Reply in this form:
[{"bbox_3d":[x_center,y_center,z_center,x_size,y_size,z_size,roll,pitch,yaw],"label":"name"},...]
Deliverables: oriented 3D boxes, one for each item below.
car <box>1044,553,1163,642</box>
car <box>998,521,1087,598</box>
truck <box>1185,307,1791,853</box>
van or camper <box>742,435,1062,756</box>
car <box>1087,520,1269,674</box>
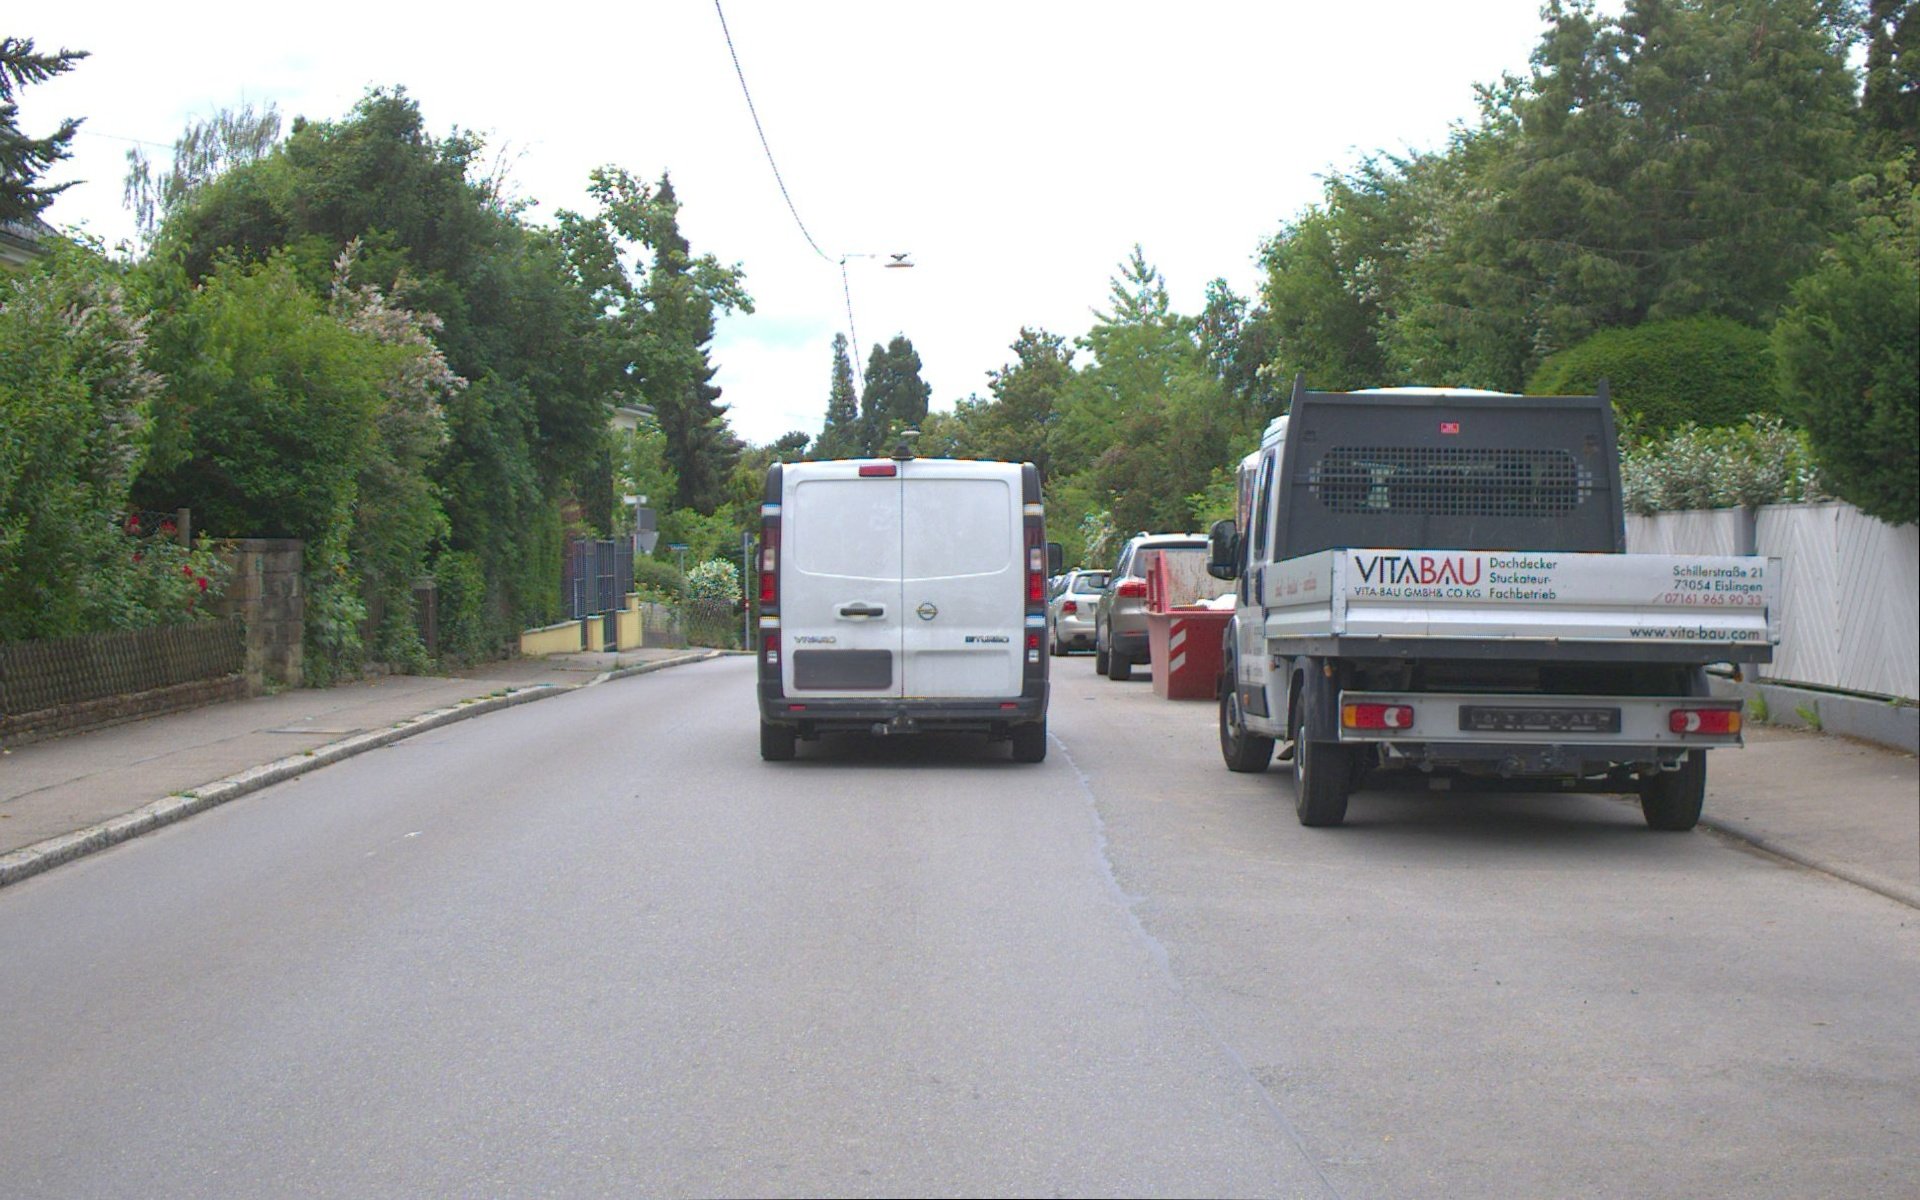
[{"bbox_3d":[2.410,-0.054,58.549,1.744,1.442,4.259,-1,0,-1],"label":"car"},{"bbox_3d":[1.781,-0.876,75.324,1.744,1.624,4.259,-1,0,-1],"label":"car"},{"bbox_3d":[2.654,-0.143,19.411,2.187,2.463,7.431,1,1,0],"label":"truck"},{"bbox_3d":[-0.395,-0.016,23.432,1.939,1.947,4.765,1,0,-1],"label":"van or camper"},{"bbox_3d":[2.485,-0.042,40.002,1.744,1.669,4.185,-1,0,-1],"label":"car"}]
